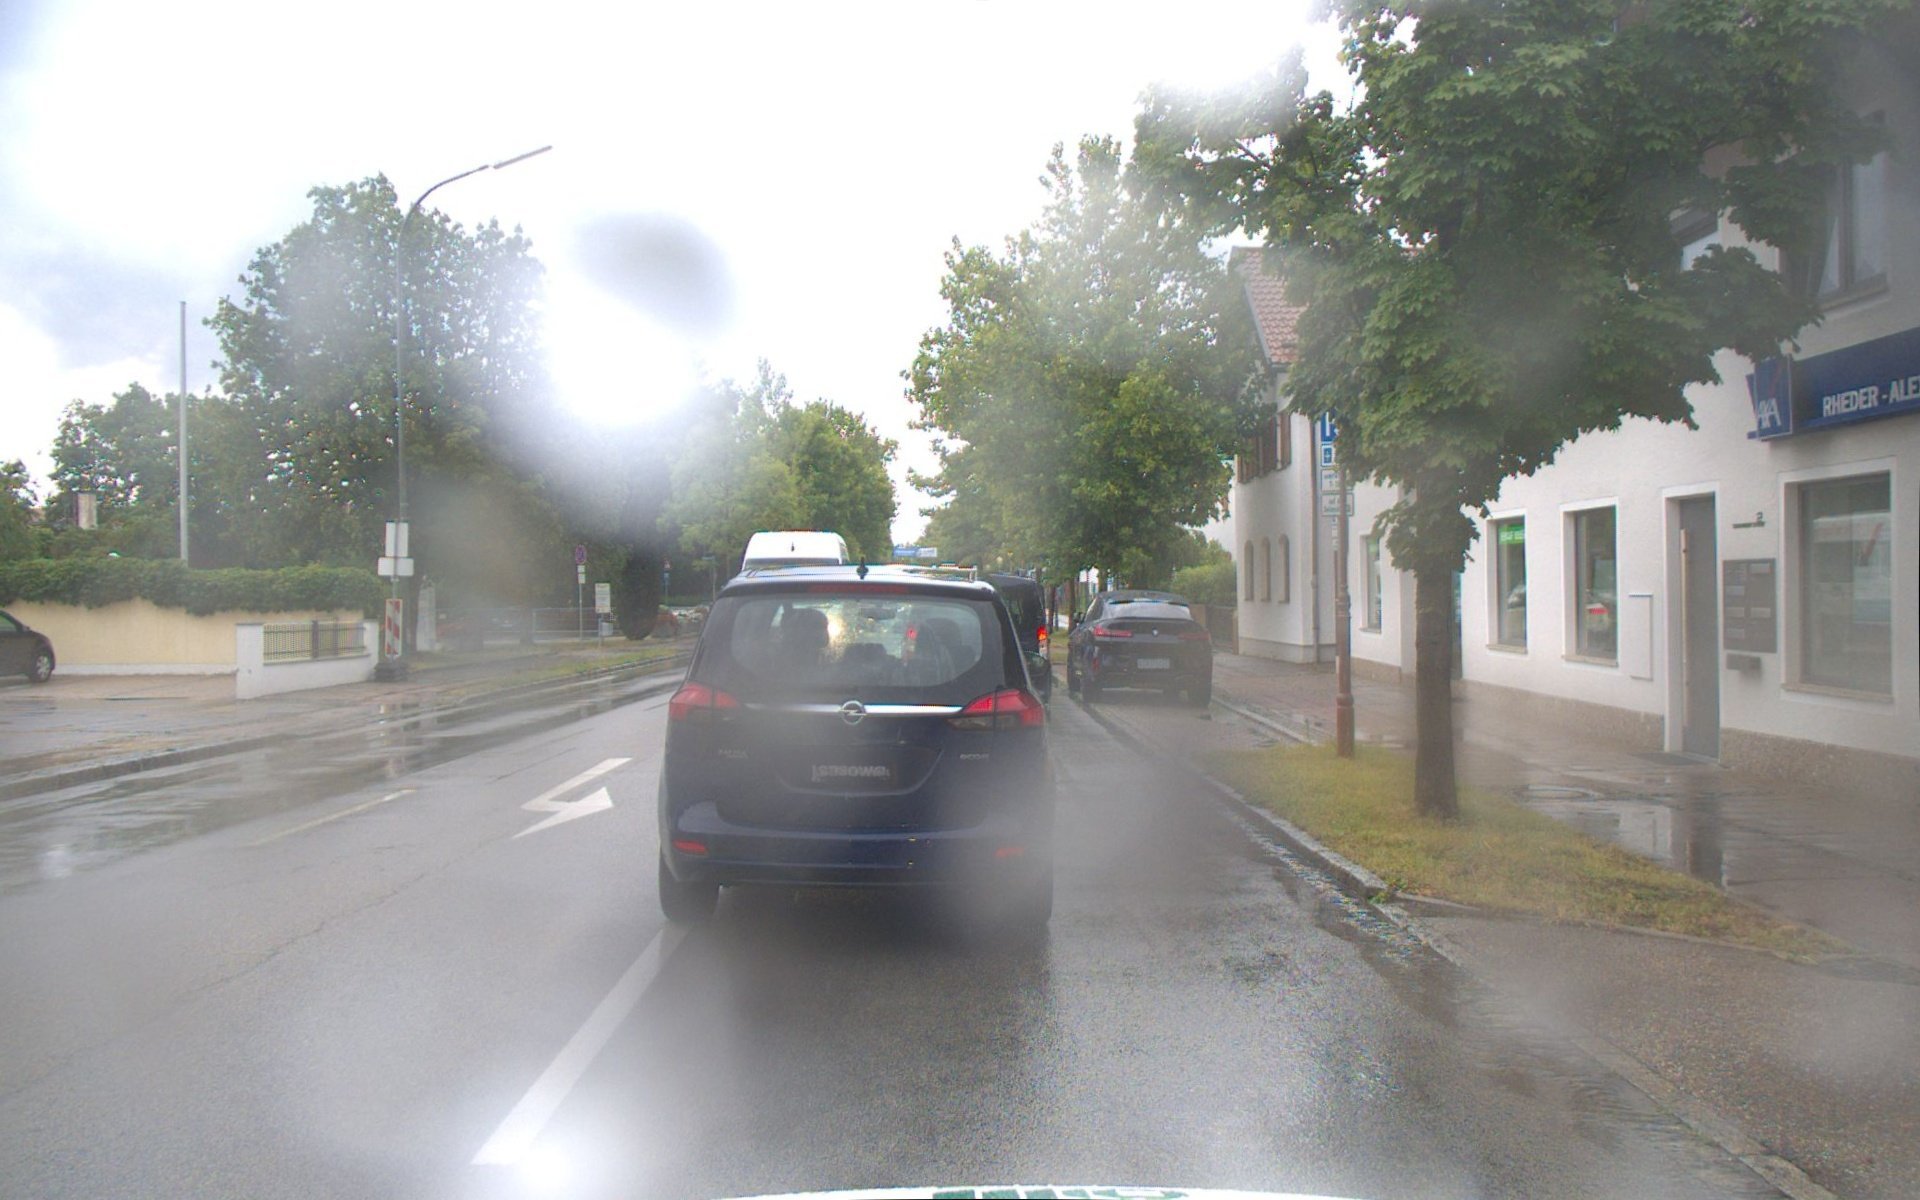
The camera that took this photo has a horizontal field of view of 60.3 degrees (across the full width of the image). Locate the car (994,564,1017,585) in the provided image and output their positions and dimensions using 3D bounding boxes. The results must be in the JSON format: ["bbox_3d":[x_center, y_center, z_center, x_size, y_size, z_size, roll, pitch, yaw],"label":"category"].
[{"bbox_3d":[3.383,-1.888,123.360,1.597,1.402,3.622,-2,0,-1],"label":"car"}]

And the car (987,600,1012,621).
[{"bbox_3d":[2.737,0.706,113.947,1.597,1.402,3.622,0,-1,-1],"label":"car"}]

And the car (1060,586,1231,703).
[{"bbox_3d":[2.722,0.636,25.182,2.074,1.609,3.934,1,0,-1],"label":"car"}]

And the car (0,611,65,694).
[{"bbox_3d":[-17.104,0.923,28.380,1.574,1.404,3.508,-2,0,-1],"label":"car"}]

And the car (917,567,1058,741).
[{"bbox_3d":[0.275,0.562,18.872,1.470,1.807,3.111,1,0,-1],"label":"car"}]

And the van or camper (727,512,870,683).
[{"bbox_3d":[-2.817,-0.051,30.217,2.051,2.754,6.267,-1,0,-1],"label":"van or camper"}]

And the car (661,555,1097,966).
[{"bbox_3d":[-0.337,0.641,8.443,1.732,1.633,3.663,0,0,-1],"label":"car"}]

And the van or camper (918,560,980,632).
[{"bbox_3d":[-0.441,-0.151,66.158,2.312,2.712,5.371,-1,0,-1],"label":"van or camper"}]
